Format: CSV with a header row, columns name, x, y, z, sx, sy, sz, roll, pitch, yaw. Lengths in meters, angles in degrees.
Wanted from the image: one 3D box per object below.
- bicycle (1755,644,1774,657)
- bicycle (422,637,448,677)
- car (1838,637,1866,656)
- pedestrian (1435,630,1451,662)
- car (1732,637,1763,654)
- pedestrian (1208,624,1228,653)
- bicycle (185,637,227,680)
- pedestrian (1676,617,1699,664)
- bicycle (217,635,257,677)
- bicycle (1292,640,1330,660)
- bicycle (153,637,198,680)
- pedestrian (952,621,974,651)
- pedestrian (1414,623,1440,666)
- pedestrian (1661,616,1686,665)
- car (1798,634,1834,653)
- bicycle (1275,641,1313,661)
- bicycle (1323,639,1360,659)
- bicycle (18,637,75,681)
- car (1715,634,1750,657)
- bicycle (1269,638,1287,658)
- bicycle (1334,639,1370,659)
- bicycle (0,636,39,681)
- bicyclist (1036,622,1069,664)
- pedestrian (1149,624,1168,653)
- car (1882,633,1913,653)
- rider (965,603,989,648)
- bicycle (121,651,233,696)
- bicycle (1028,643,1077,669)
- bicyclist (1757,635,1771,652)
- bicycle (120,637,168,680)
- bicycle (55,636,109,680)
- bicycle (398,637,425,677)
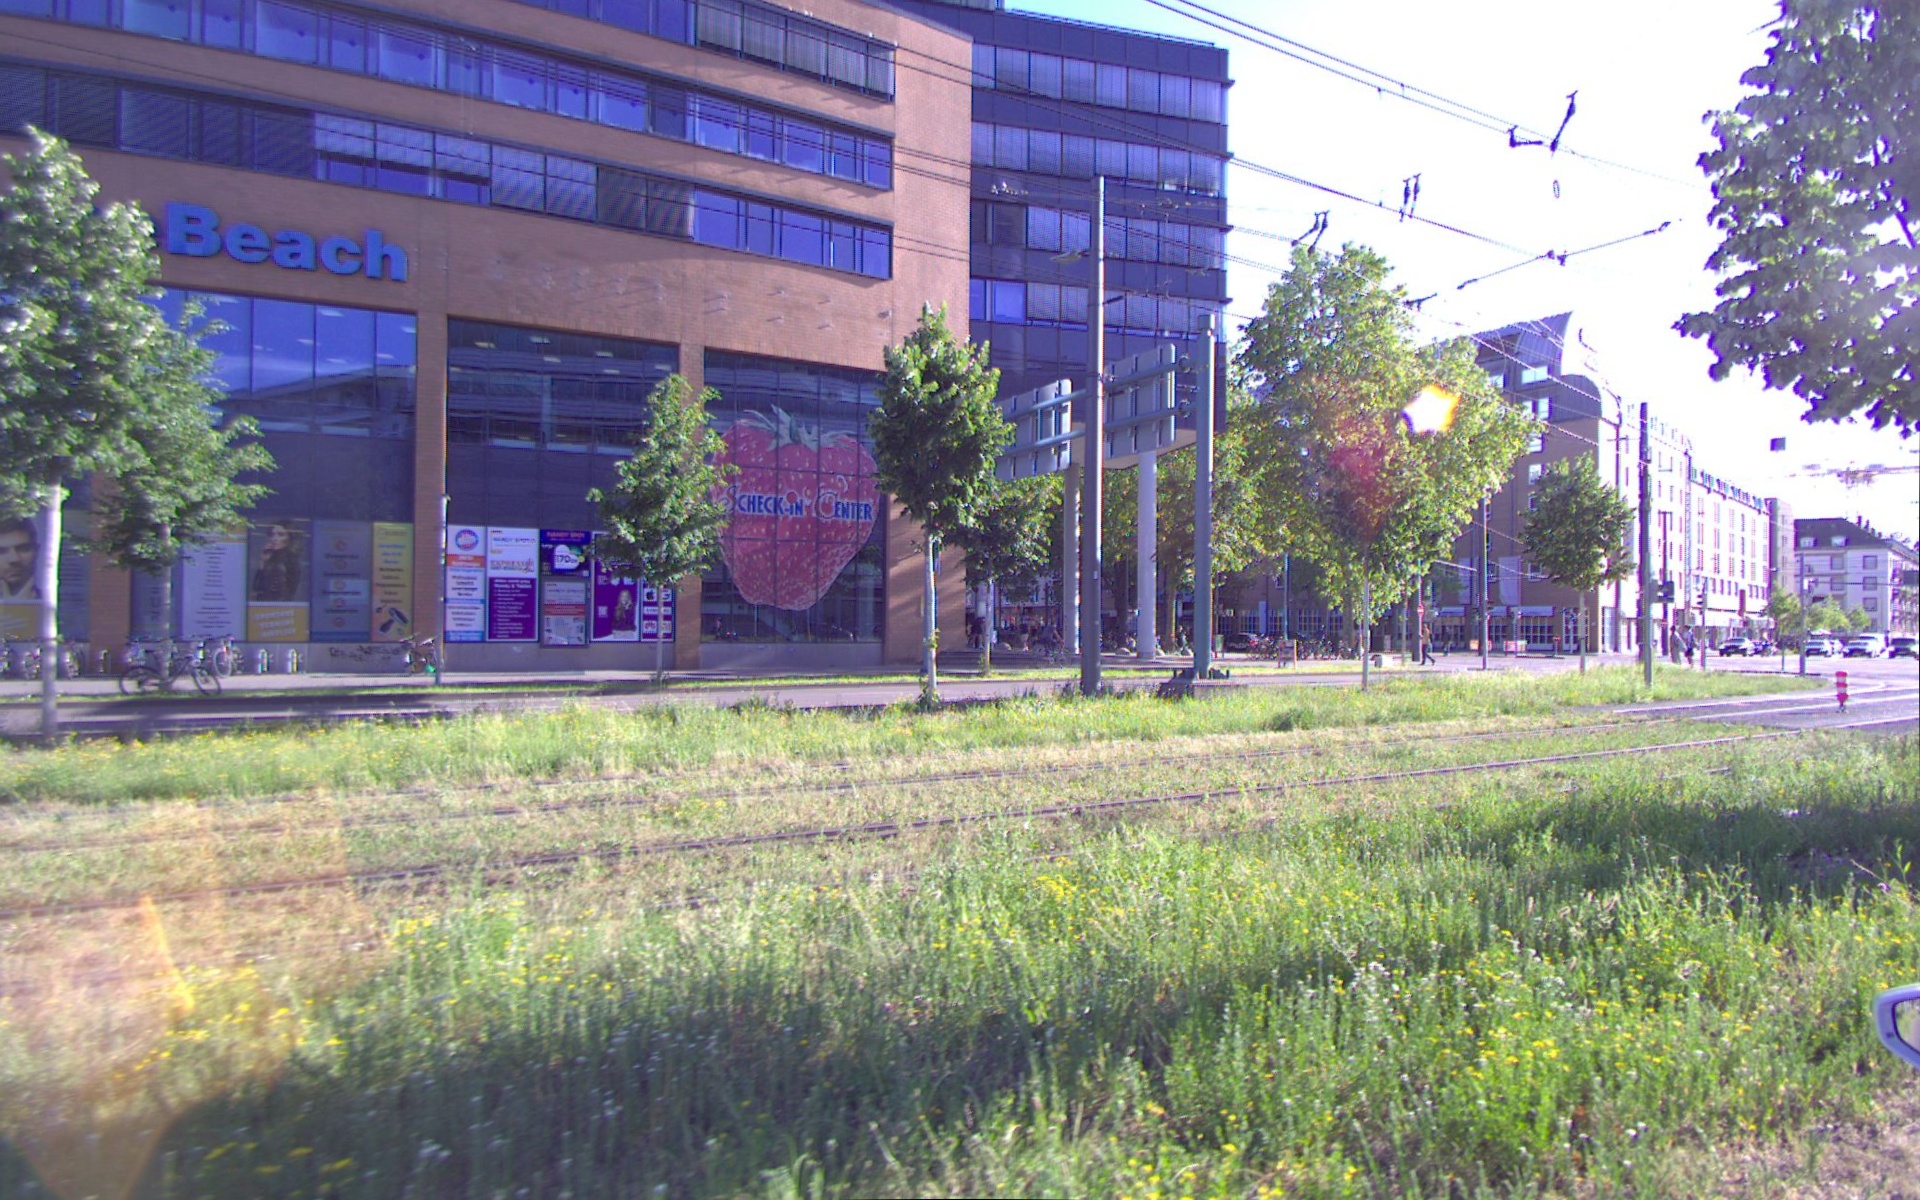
name,x,y,z,sx,sy,sz,roll,pitch,yaw
bicycle,68.154,4.253,85.075,2.902,1.099,0.644,2,-1,-39
bicycle,-15.083,1.624,28.878,0.484,1.063,1.761,1,-1,-23
car,75.455,3.903,84.956,1.725,1.524,3.860,-1,-2,42
pedestrian,31.043,2.957,64.580,0.670,2.040,0.663,1,-1,-30
car,74.690,4.318,95.231,3.974,1.530,1.866,2,-2,-44
pedestrian,14.459,2.165,56.290,0.827,1.619,0.730,1,0,-26
bicycle,-20.122,1.541,26.833,0.484,1.063,1.761,1,-1,-23
pedestrian,28.568,1.595,39.441,0.657,1.841,0.559,1,-1,-37
bicycle,-19.477,1.504,27.081,0.484,1.063,1.761,1,-1,-23
bicycle,17.861,2.549,51.068,1.741,0.964,0.540,0,-1,33
bicycle,-20.759,1.524,26.607,0.484,1.063,1.761,1,-1,-23
pedestrian,0.152,2.121,58.887,1.091,1.730,0.789,1,0,-14
pedestrian,22.359,2.117,48.077,0.827,2.040,0.730,1,0,-26
pedestrian,27.626,1.552,38.876,0.657,1.854,0.627,1,-1,-37
car,74.319,3.763,87.198,4.707,1.617,1.974,2,-2,-44
bicycle,16.736,2.551,50.338,1.747,0.964,0.538,-1,-2,45
bicycle,19.566,2.517,51.545,0.536,0.964,1.752,1,-1,-37
bicycle,-23.219,1.479,25.556,0.484,1.063,1.761,1,-1,-23
car,69.362,4.058,90.123,3.974,2.040,1.974,2,-2,-44
bicycle,16.695,2.504,52.698,0.530,0.964,1.772,1,-1,5
bicycle,20.261,2.536,51.946,0.536,0.964,1.752,1,-1,-37
bicycle,-23.879,1.461,25.244,0.484,1.063,1.761,1,-1,-23
bicyclist,3.352,1.561,36.377,1.006,1.484,0.674,1,-1,-34
pedestrian,11.253,2.186,56.982,0.827,1.667,0.730,1,-1,-26
car,76.449,3.498,81.940,1.725,1.524,3.860,-1,-2,42
rider,0.702,1.045,40.949,0.704,1.826,0.714,1,-1,-30
bicycle,-16.100,1.492,20.708,1.751,0.880,0.460,1,-1,-31
bicycle,3.350,2.018,36.370,1.869,0.923,0.495,1,-1,-34
bicyclist,67.788,3.653,84.676,0.942,1.393,0.751,1,-1,-39
bicycle,-21.352,1.508,26.298,0.484,1.063,1.761,1,-1,-23
bicycle,-22.555,1.475,25.828,0.484,1.063,1.761,1,-1,-23
bicycle,-15.604,1.609,28.579,0.484,1.063,1.761,1,-1,-23
